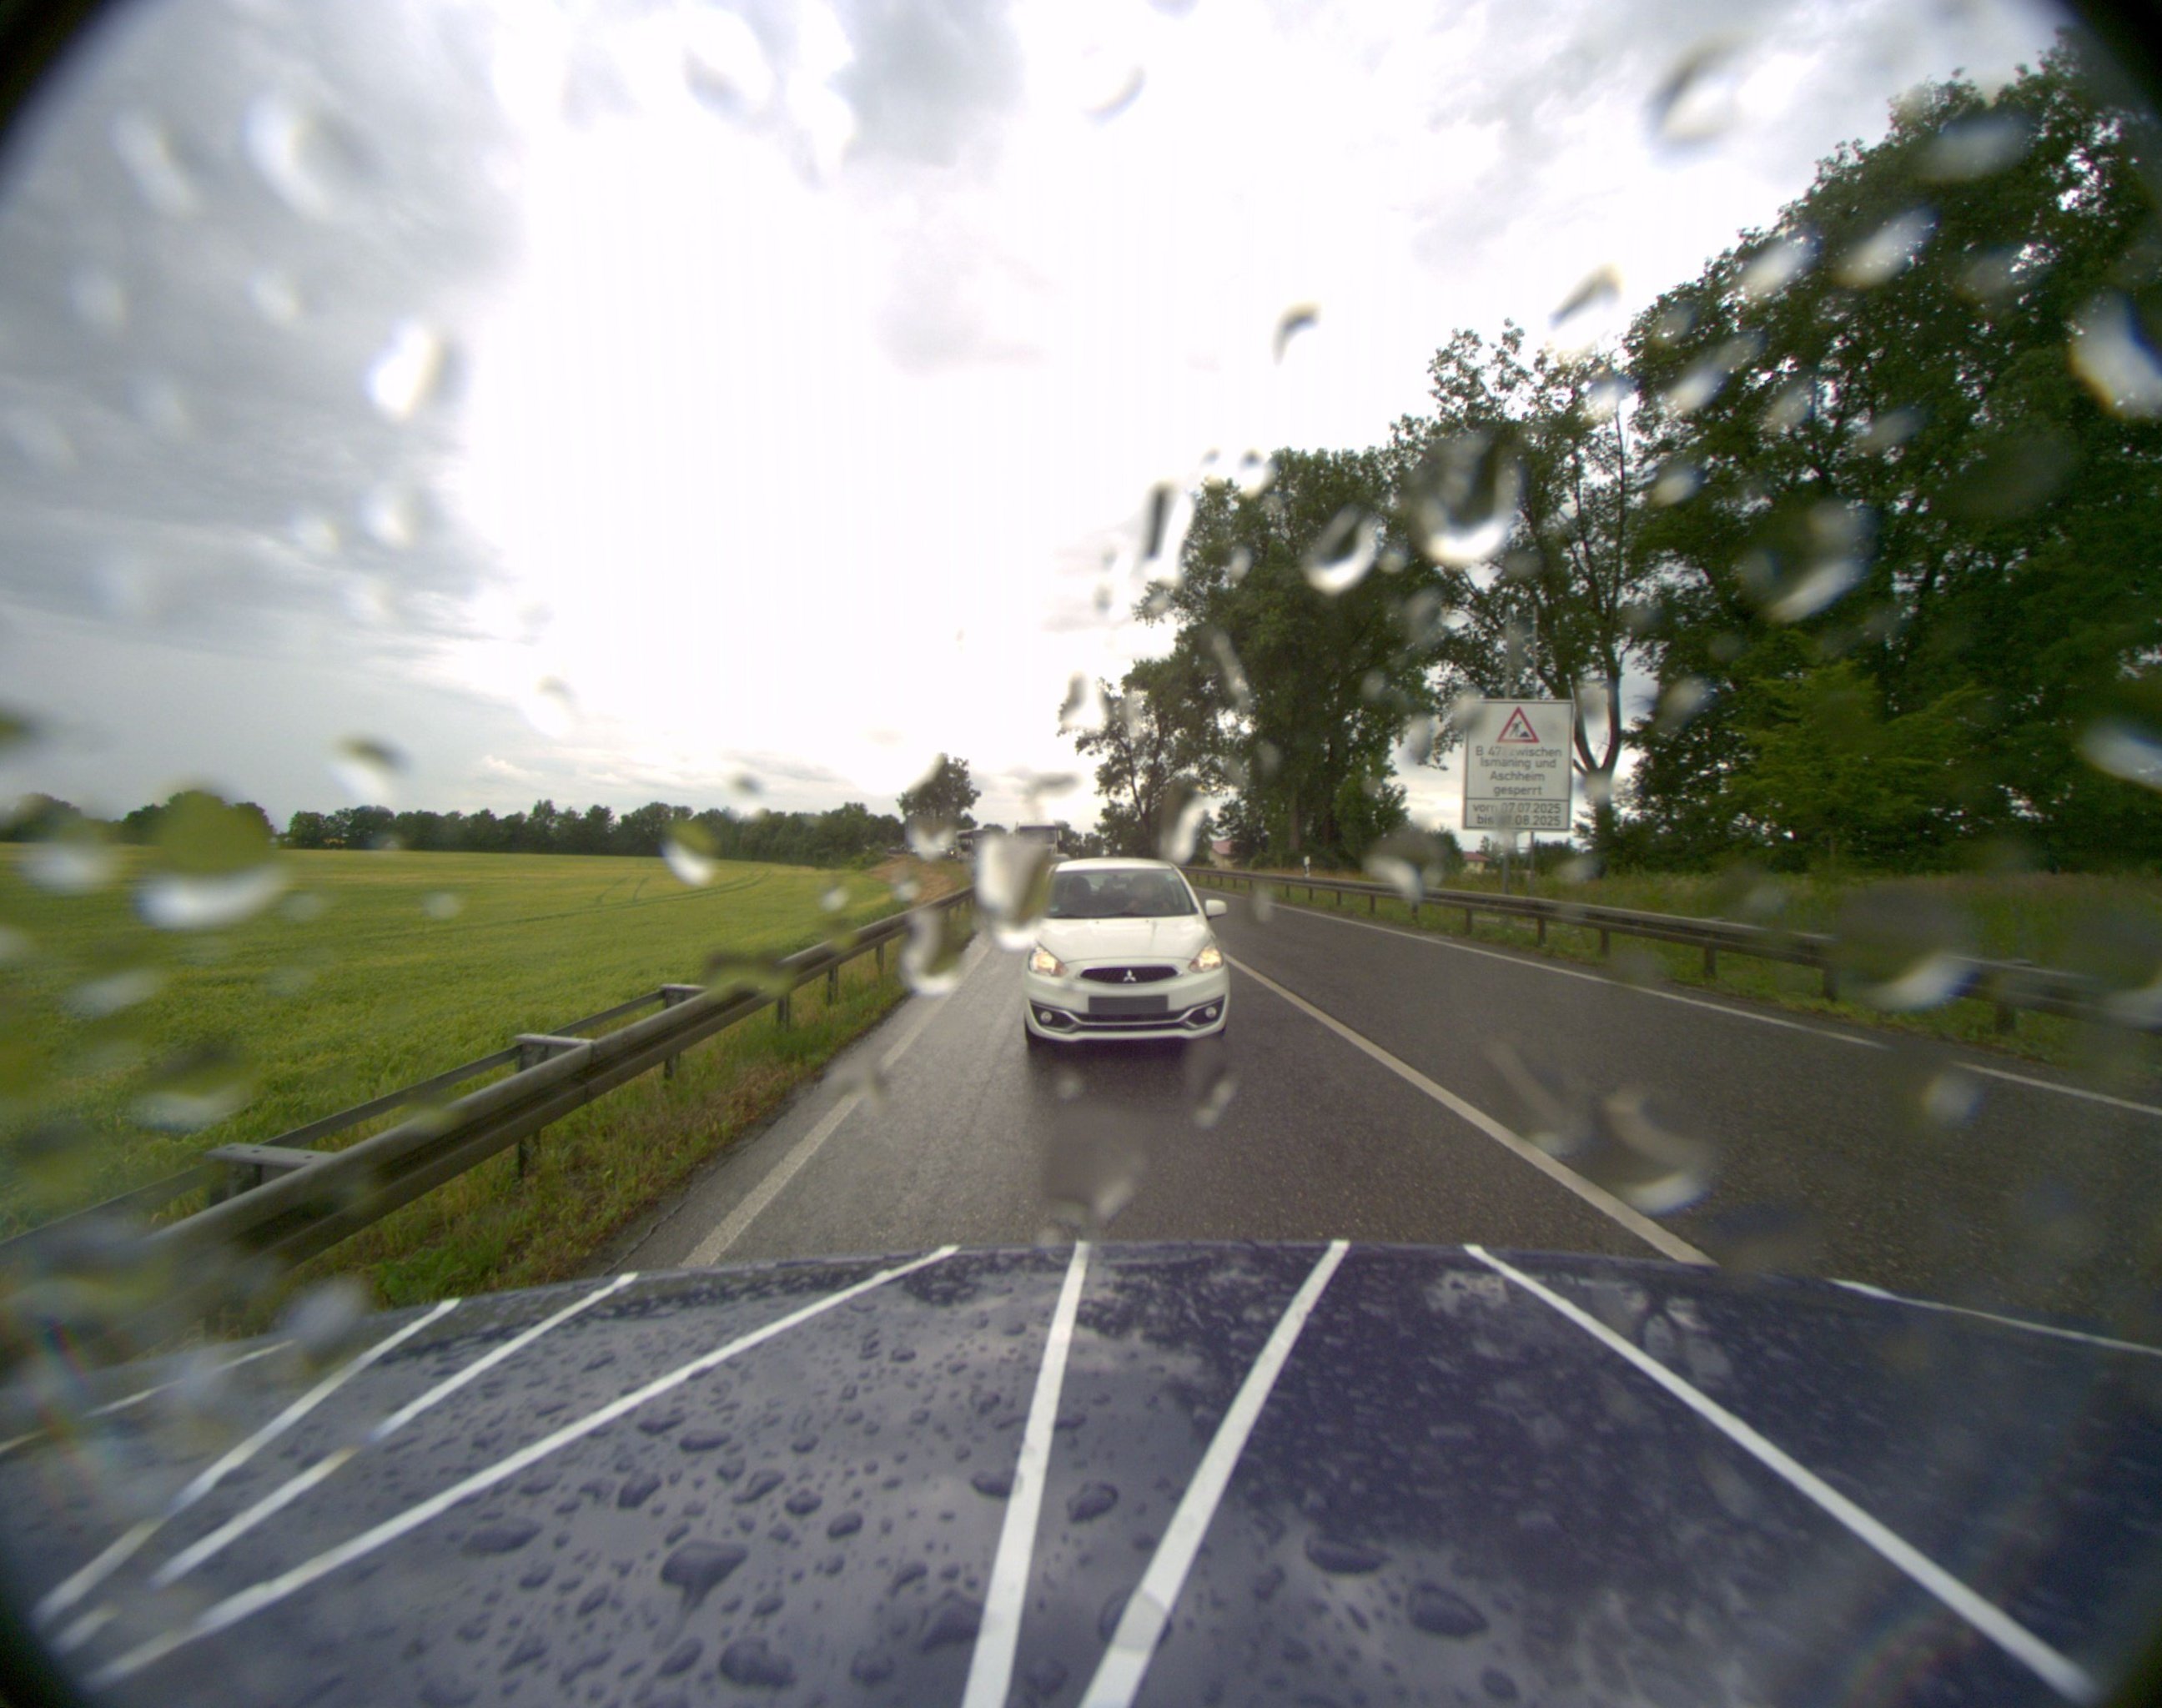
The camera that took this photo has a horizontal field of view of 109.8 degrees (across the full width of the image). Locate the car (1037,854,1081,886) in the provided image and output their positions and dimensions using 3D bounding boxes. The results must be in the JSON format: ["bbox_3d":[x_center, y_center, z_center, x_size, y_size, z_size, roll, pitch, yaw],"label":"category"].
[{"bbox_3d":[-1.153,0.756,37.774,1.782,1.380,4.325,-2,1,-6],"label":"car"}]

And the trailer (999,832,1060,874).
[{"bbox_3d":[-4.140,-0.162,56.826,2.986,2.618,15.666,-2,1,-9],"label":"trailer"}]

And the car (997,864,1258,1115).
[{"bbox_3d":[0.307,0.911,6.956,1.653,1.461,4.029,-2,1,0],"label":"car"}]

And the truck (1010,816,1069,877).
[{"bbox_3d":[-2.774,-0.490,48.397,2.986,3.589,6.074,-2,1,-9],"label":"truck"}]

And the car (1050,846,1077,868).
[{"bbox_3d":[-1.641,0.256,68.057,1.807,1.840,4.516,-1,1,-9],"label":"car"}]

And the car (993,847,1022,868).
[{"bbox_3d":[-6.960,0.337,71.651,2.044,1.832,5.329,-2,1,-13],"label":"car"}]

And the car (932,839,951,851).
[{"bbox_3d":[-24.166,-1.583,131.540,2.002,2.002,5.325,-2,1,-24],"label":"car"}]

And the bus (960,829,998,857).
[{"bbox_3d":[-13.260,-1.481,97.066,2.967,3.294,14.815,-2,2,-14],"label":"bus"}]

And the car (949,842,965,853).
[{"bbox_3d":[-18.788,-0.915,115.079,1.816,1.569,3.994,-2,1,-17],"label":"car"}]

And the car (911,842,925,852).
[{"bbox_3d":[-32.793,-1.366,152.958,2.002,2.002,4.223,-2,1,-23],"label":"car"}]

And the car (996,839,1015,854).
[{"bbox_3d":[-10.193,-0.975,102.251,1.823,1.913,4.172,-2,1,-15],"label":"car"}]
